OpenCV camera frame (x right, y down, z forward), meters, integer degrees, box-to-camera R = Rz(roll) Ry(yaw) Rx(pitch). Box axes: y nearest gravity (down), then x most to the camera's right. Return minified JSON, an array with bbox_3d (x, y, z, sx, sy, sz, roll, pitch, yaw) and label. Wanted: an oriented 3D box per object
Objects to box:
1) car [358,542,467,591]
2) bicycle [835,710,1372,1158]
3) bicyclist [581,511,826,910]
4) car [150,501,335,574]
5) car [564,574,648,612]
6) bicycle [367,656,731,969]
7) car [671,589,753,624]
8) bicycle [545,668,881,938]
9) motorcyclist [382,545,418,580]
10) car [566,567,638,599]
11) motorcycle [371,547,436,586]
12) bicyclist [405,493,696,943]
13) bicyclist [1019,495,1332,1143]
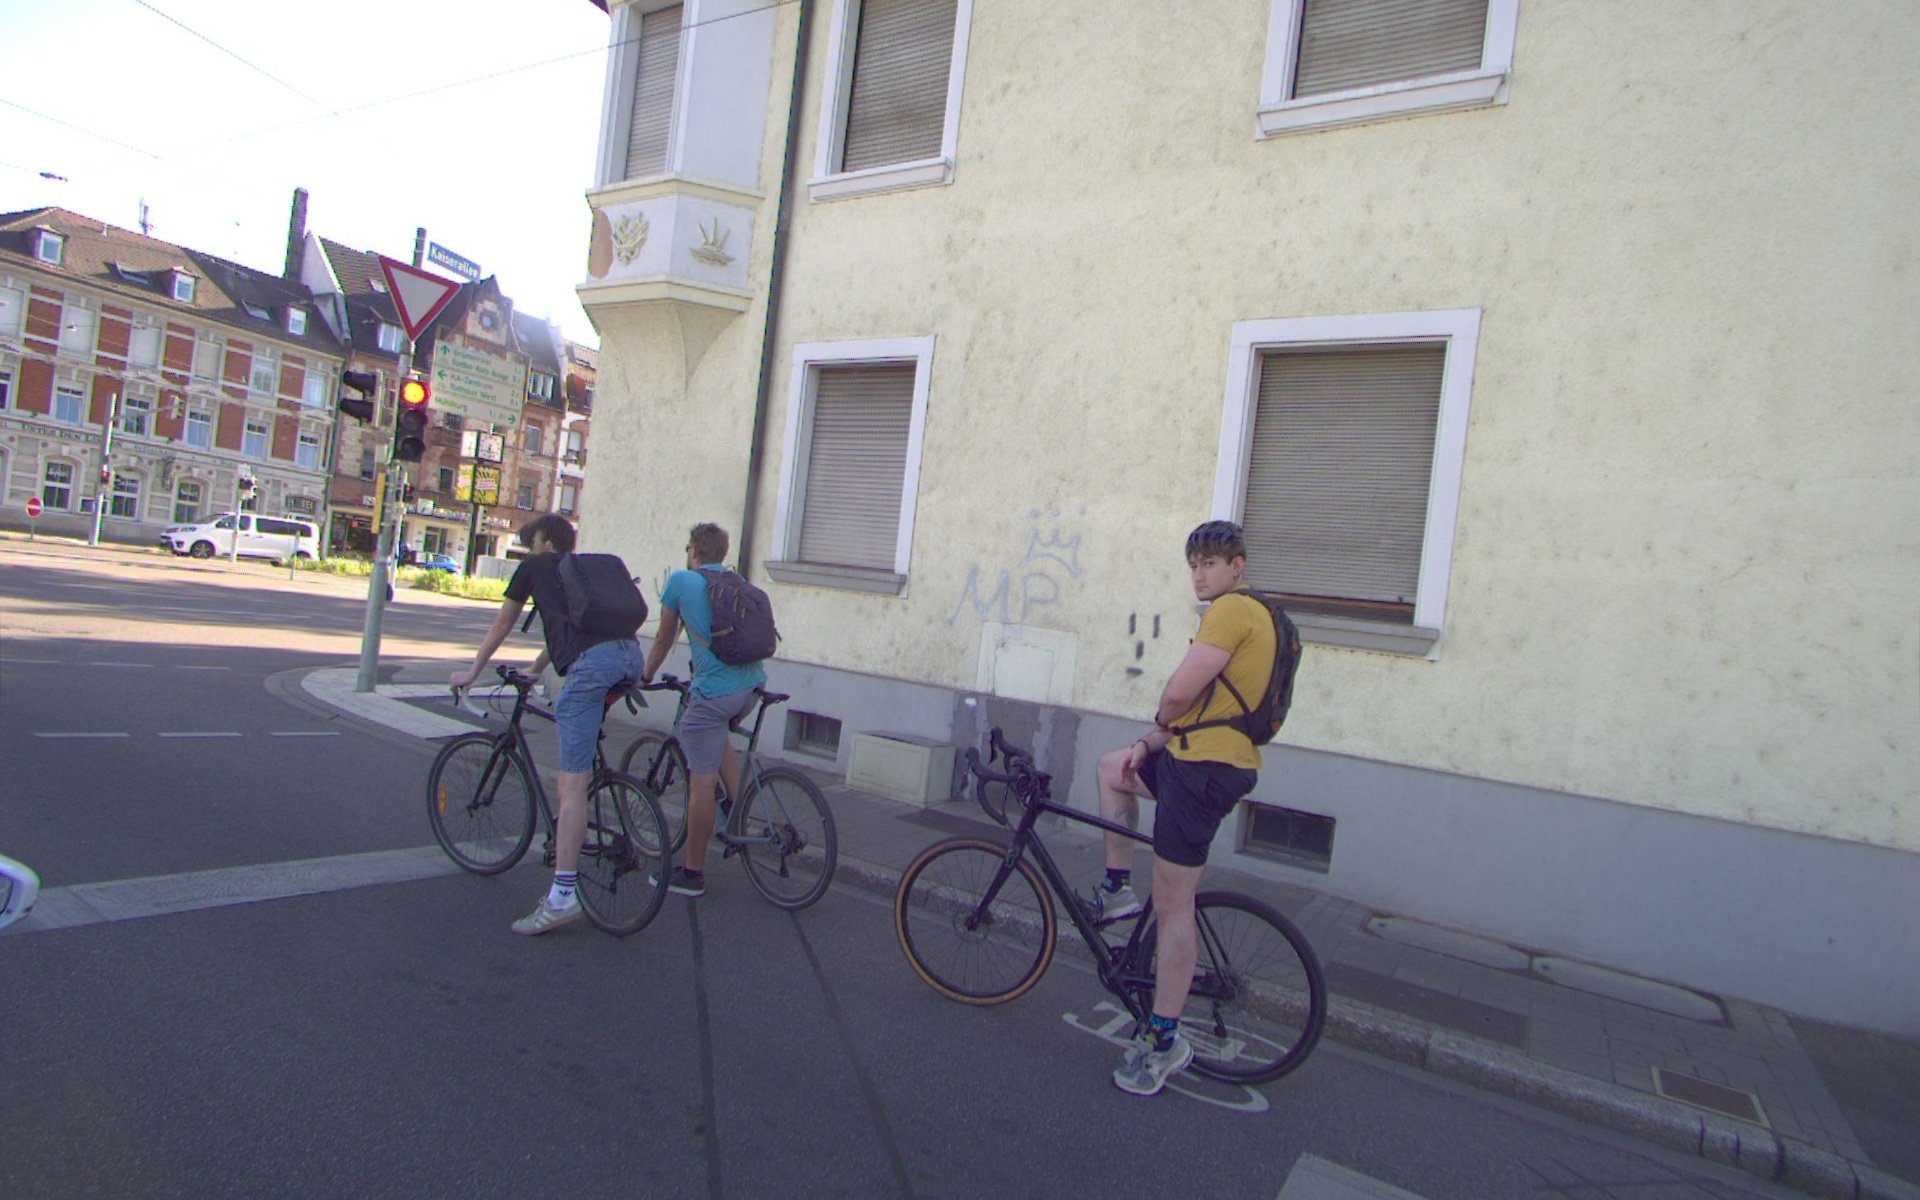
[{"bbox_3d":[-25.440,-1.542,46.880,1.775,1.641,3.994,6,-2,33],"label":"car"},{"bbox_3d":[0.535,1.116,3.795,1.709,1.119,0.783,7,-1,18],"label":"bicycle"},{"bbox_3d":[-1.345,0.527,5.264,0.960,1.868,0.504,6,-1,32],"label":"bicyclist"},{"bbox_3d":[-26.969,-2.305,38.036,1.967,1.876,5.207,7,-1,32],"label":"car"},{"bbox_3d":[-18.307,-0.335,52.161,1.569,1.443,3.876,7,-1,32],"label":"car"},{"bbox_3d":[-1.903,0.868,4.544,1.753,1.003,0.482,6,-1,32],"label":"bicycle"},{"bbox_3d":[-15.007,0.428,61.116,1.774,1.487,4.866,8,-1,32],"label":"car"},{"bbox_3d":[-1.318,0.971,5.212,1.753,0.995,0.504,6,-1,32],"label":"bicycle"},{"bbox_3d":[-23.782,-1.602,42.693,0.779,1.315,1.013,6,-2,43],"label":"motorcyclist"},{"bbox_3d":[-23.154,-1.083,65.128,1.842,1.454,3.985,6,-2,35],"label":"car"},{"bbox_3d":[-23.676,-1.421,42.825,0.786,1.349,2.133,6,-2,43],"label":"motorcycle"},{"bbox_3d":[-1.847,0.477,4.543,0.920,1.787,0.590,6,-1,32],"label":"bicyclist"},{"bbox_3d":[0.804,0.703,3.660,0.763,1.990,0.783,7,0,18],"label":"bicyclist"}]
